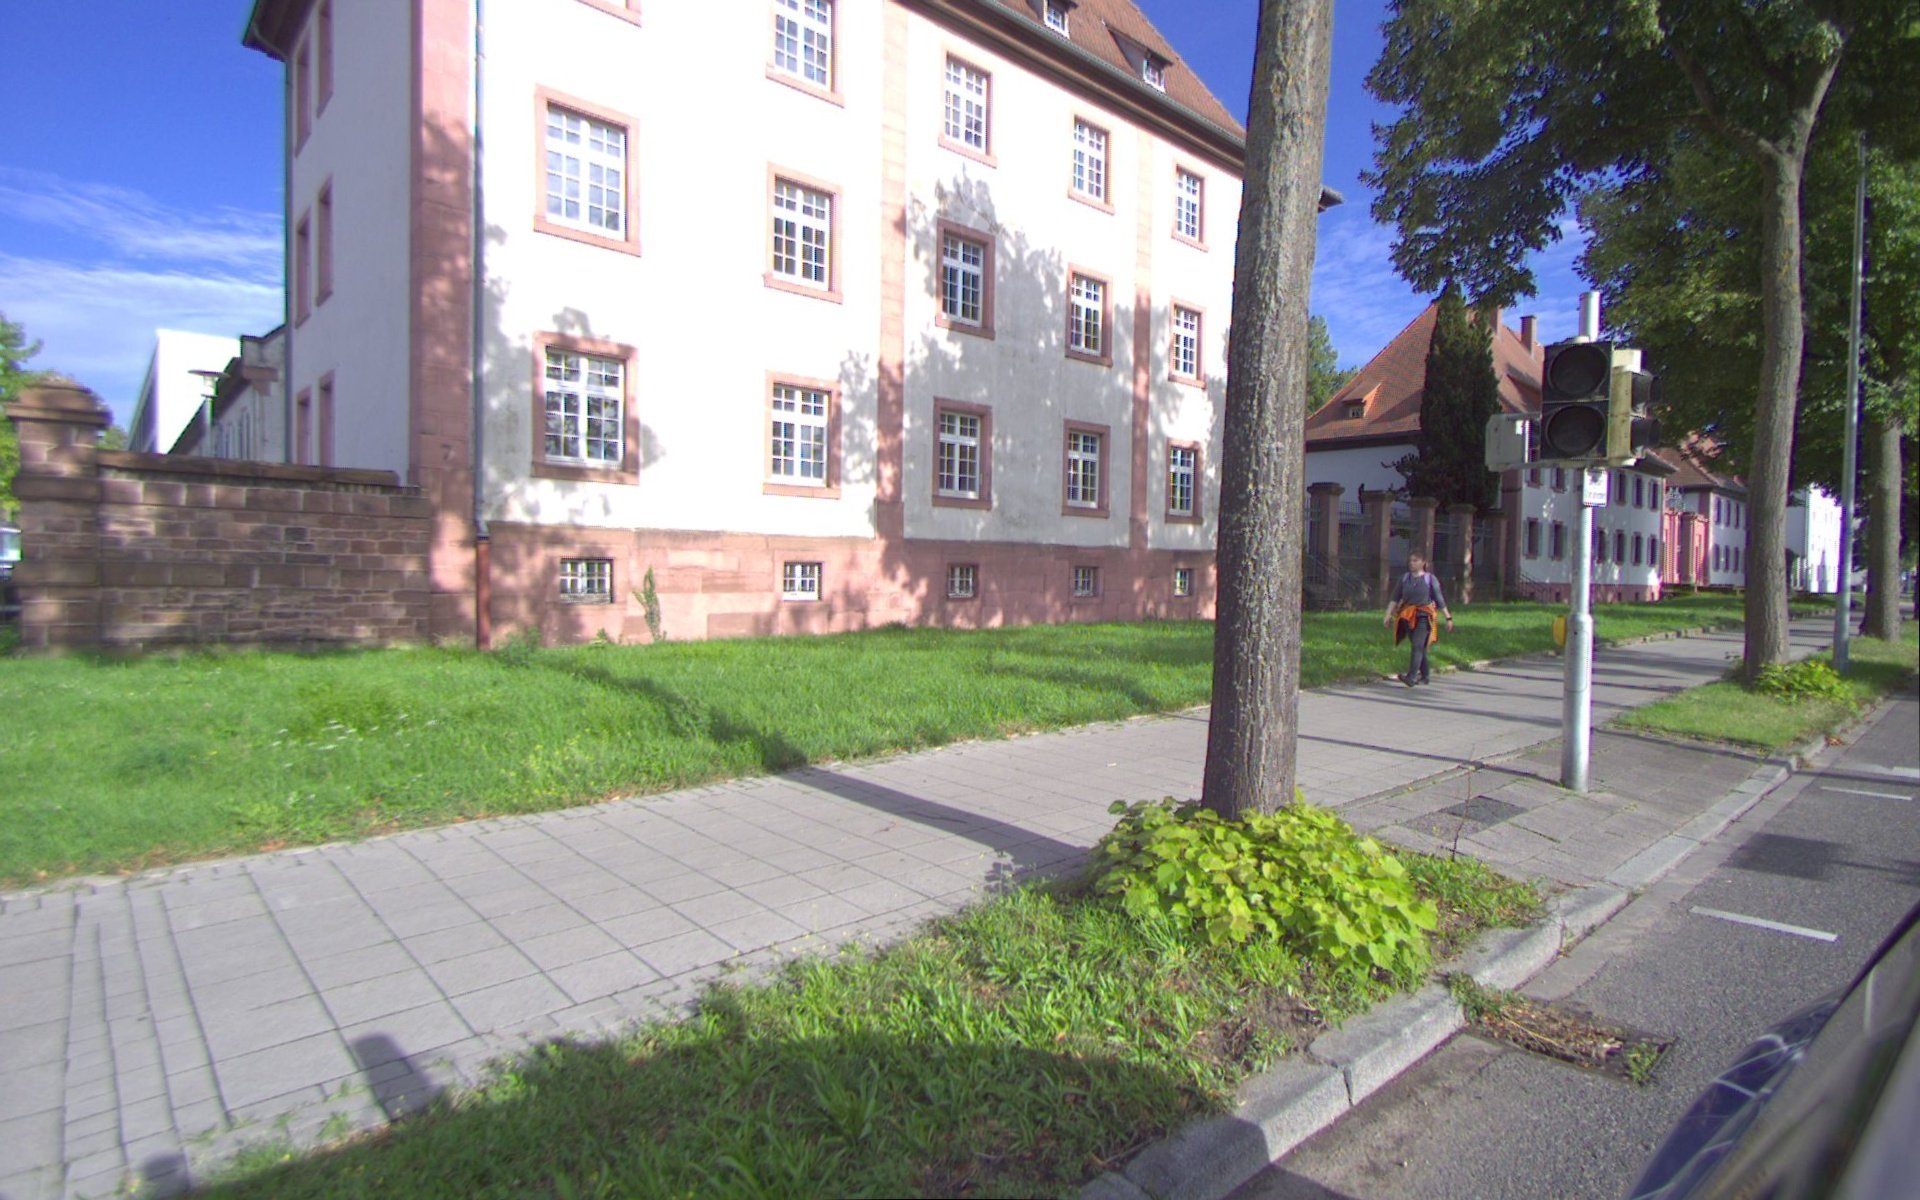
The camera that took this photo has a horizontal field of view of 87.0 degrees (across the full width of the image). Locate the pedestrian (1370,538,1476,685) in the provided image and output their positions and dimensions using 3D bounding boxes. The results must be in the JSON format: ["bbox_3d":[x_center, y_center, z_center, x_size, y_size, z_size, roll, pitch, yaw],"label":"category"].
[{"bbox_3d":[5.382,0.107,11.776,0.756,1.609,0.815,-1,5,-43],"label":"pedestrian"}]

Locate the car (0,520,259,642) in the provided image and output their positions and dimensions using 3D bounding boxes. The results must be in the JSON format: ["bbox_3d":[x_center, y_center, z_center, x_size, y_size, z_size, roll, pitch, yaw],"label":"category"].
[{"bbox_3d":[-12.979,-0.313,14.728,4.425,1.627,1.998,-1,3,-40],"label":"car"}]
